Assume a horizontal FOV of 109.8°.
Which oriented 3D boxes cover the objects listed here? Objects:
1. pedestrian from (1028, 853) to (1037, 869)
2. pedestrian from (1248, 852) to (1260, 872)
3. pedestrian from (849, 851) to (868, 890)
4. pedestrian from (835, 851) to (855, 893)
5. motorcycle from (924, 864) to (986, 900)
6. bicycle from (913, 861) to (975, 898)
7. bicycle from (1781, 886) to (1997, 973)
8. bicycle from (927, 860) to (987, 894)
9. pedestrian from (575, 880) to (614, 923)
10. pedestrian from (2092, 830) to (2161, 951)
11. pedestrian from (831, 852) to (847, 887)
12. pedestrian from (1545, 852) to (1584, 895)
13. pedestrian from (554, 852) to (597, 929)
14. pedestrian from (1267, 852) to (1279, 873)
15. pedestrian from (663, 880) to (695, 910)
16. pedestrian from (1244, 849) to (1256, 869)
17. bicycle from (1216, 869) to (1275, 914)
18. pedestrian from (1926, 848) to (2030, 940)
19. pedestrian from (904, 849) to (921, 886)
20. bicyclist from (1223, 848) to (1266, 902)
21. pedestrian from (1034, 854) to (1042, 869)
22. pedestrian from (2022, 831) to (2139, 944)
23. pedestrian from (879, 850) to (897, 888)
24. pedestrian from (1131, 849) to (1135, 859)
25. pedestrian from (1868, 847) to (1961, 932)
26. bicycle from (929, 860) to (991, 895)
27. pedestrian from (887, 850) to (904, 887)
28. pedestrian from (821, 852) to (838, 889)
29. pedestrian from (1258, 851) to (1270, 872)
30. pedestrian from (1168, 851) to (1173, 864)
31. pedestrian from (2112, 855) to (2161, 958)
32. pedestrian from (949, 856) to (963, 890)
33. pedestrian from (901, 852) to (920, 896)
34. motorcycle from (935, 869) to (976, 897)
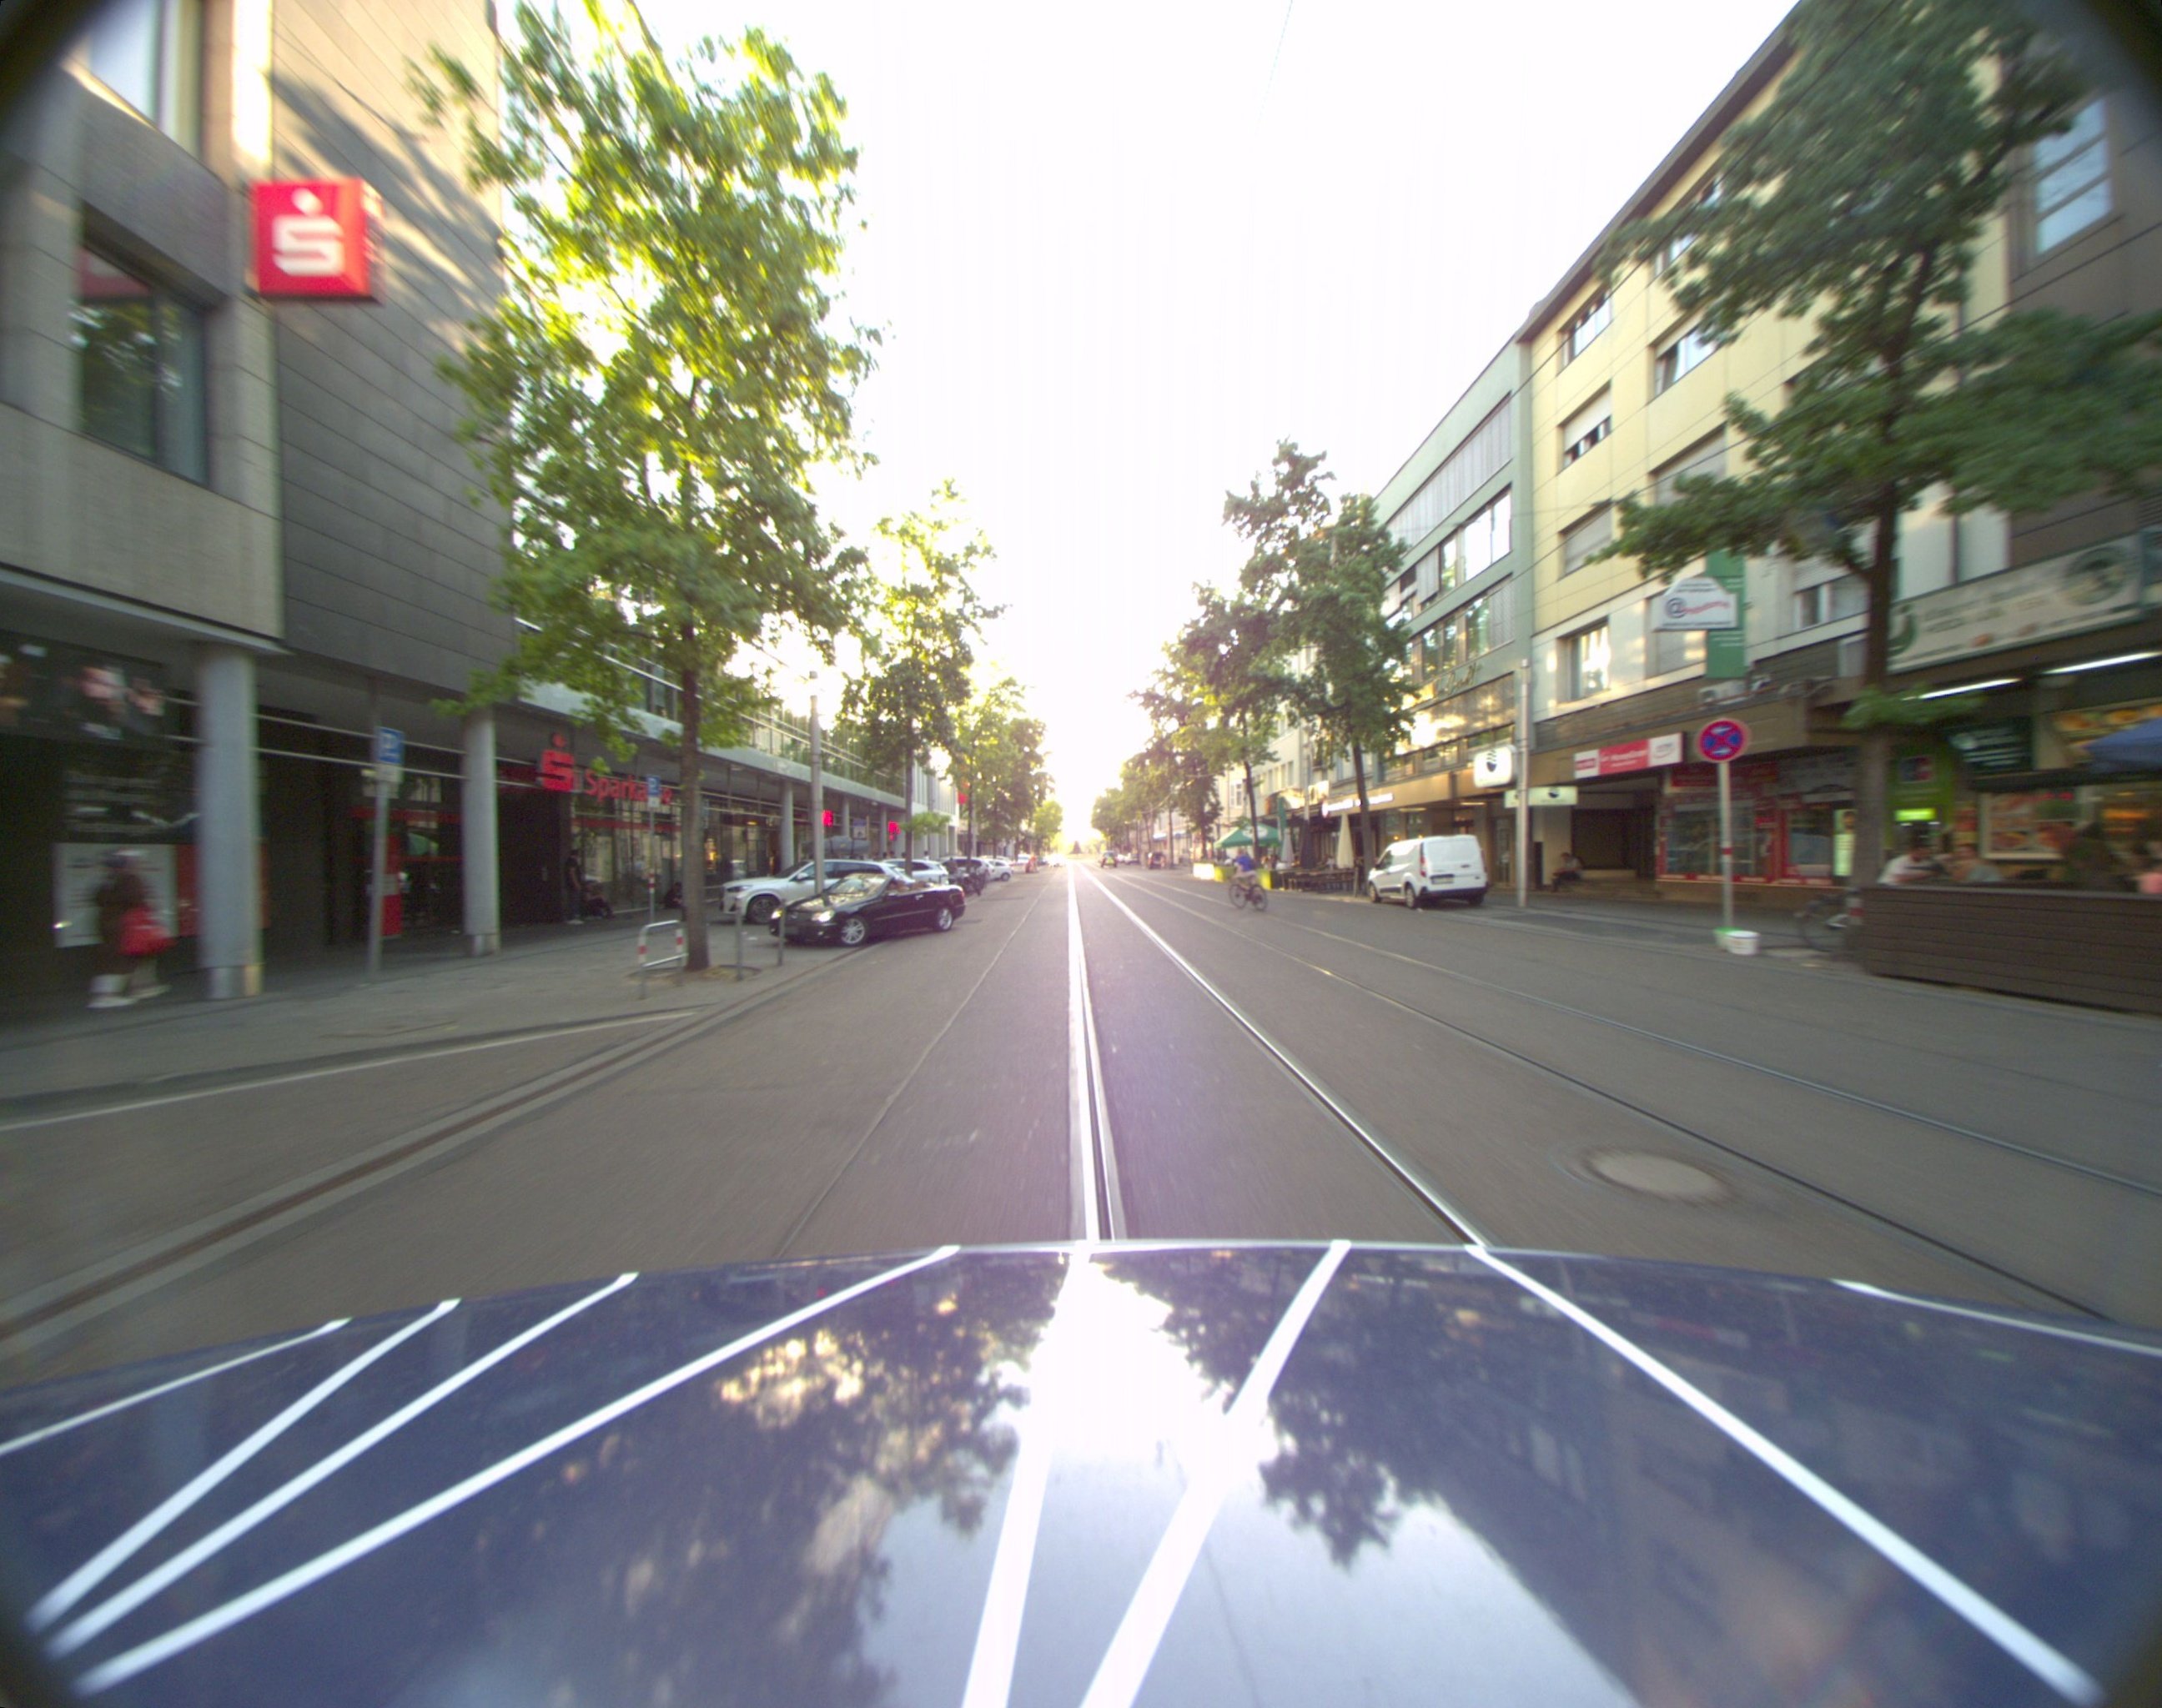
[{"bbox_3d":[-4.609,0.680,72.138,0.650,1.451,0.649,-1,1,-17],"label":"pedestrian"},{"bbox_3d":[12.328,0.562,54.127,0.650,1.451,0.650,-1,1,-2],"label":"pedestrian"},{"bbox_3d":[-9.797,0.712,33.450,0.618,1.681,0.628,0,1,0],"label":"pedestrian"},{"bbox_3d":[-9.595,0.737,30.879,0.618,1.681,0.628,0,1,0],"label":"pedestrian"},{"bbox_3d":[-4.950,1.080,29.901,1.153,1.346,2.116,1,0,41],"label":"motorcycle"},{"bbox_3d":[-6.013,1.112,33.412,2.492,1.448,0.656,-4,1,-26],"label":"bicycle"},{"bbox_3d":[10.177,0.911,9.675,0.480,0.921,1.824,-3,0,-21],"label":"bicycle"},{"bbox_3d":[-5.910,1.071,36.231,2.677,1.448,0.675,-4,1,-26],"label":"bicycle"},{"bbox_3d":[-12.003,1.169,18.771,0.628,1.030,0.558,0,1,-9],"label":"pedestrian"},{"bbox_3d":[13.444,0.440,9.506,0.662,1.426,0.643,-5,2,0],"label":"pedestrian"},{"bbox_3d":[-11.714,0.727,36.755,0.558,1.681,0.628,0,1,0],"label":"pedestrian"},{"bbox_3d":[13.659,0.553,21.468,0.650,1.168,0.650,-2,1,-6],"label":"pedestrian"},{"bbox_3d":[-11.780,0.828,17.724,0.558,1.762,0.628,0,1,0],"label":"pedestrian"},{"bbox_3d":[13.166,0.561,52.100,0.650,1.451,0.650,-1,1,-2],"label":"pedestrian"},{"bbox_3d":[-12.064,1.223,22.816,0.627,0.876,0.558,0,1,-1],"label":"pedestrian"},{"bbox_3d":[12.398,0.388,55.735,0.650,1.451,0.650,-1,1,-2],"label":"pedestrian"},{"bbox_3d":[4.396,0.987,20.408,0.733,1.067,1.863,-2,1,-16],"label":"bicycle"},{"bbox_3d":[12.833,0.553,10.881,0.642,1.221,0.665,-6,2,-2],"label":"pedestrian"},{"bbox_3d":[-7.805,0.630,35.233,0.618,1.681,0.628,0,1,0],"label":"pedestrian"},{"bbox_3d":[4.386,0.545,20.377,0.761,1.407,0.896,-2,2,-16],"label":"bicyclist"},{"bbox_3d":[-4.221,0.698,74.634,0.650,1.451,0.649,-1,1,-17],"label":"pedestrian"},{"bbox_3d":[13.427,0.432,10.225,0.662,1.426,0.643,-5,2,0],"label":"pedestrian"},{"bbox_3d":[-8.563,0.671,33.751,0.618,1.681,0.628,0,1,0],"label":"pedestrian"},{"bbox_3d":[7.718,-0.011,112.840,0.650,1.451,0.650,-1,1,-2],"label":"pedestrian"},{"bbox_3d":[12.907,0.539,11.782,0.642,1.221,0.665,-6,2,-2],"label":"pedestrian"},{"bbox_3d":[-5.607,1.076,35.293,2.677,1.448,0.728,-4,1,-27],"label":"bicycle"},{"bbox_3d":[-8.447,0.656,34.685,0.618,1.681,0.628,0,1,0],"label":"pedestrian"},{"bbox_3d":[-11.560,0.745,34.920,0.558,1.681,0.628,0,1,0],"label":"pedestrian"},{"bbox_3d":[13.031,0.540,54.190,0.650,1.451,0.650,-1,1,-2],"label":"pedestrian"},{"bbox_3d":[10.047,0.349,85.061,0.490,1.451,0.543,-1,1,-2],"label":"pedestrian"},{"bbox_3d":[12.759,0.608,8.832,0.642,1.150,0.665,-4,2,-3],"label":"pedestrian"},{"bbox_3d":[-6.173,0.930,37.466,0.618,1.681,0.627,-1,1,-5],"label":"pedestrian"},{"bbox_3d":[-6.938,0.802,30.985,0.618,1.789,0.628,0,1,0],"label":"pedestrian"},{"bbox_3d":[-5.187,1.197,31.391,1.574,1.093,0.627,1,1,-25],"label":"motorcycle"}]
